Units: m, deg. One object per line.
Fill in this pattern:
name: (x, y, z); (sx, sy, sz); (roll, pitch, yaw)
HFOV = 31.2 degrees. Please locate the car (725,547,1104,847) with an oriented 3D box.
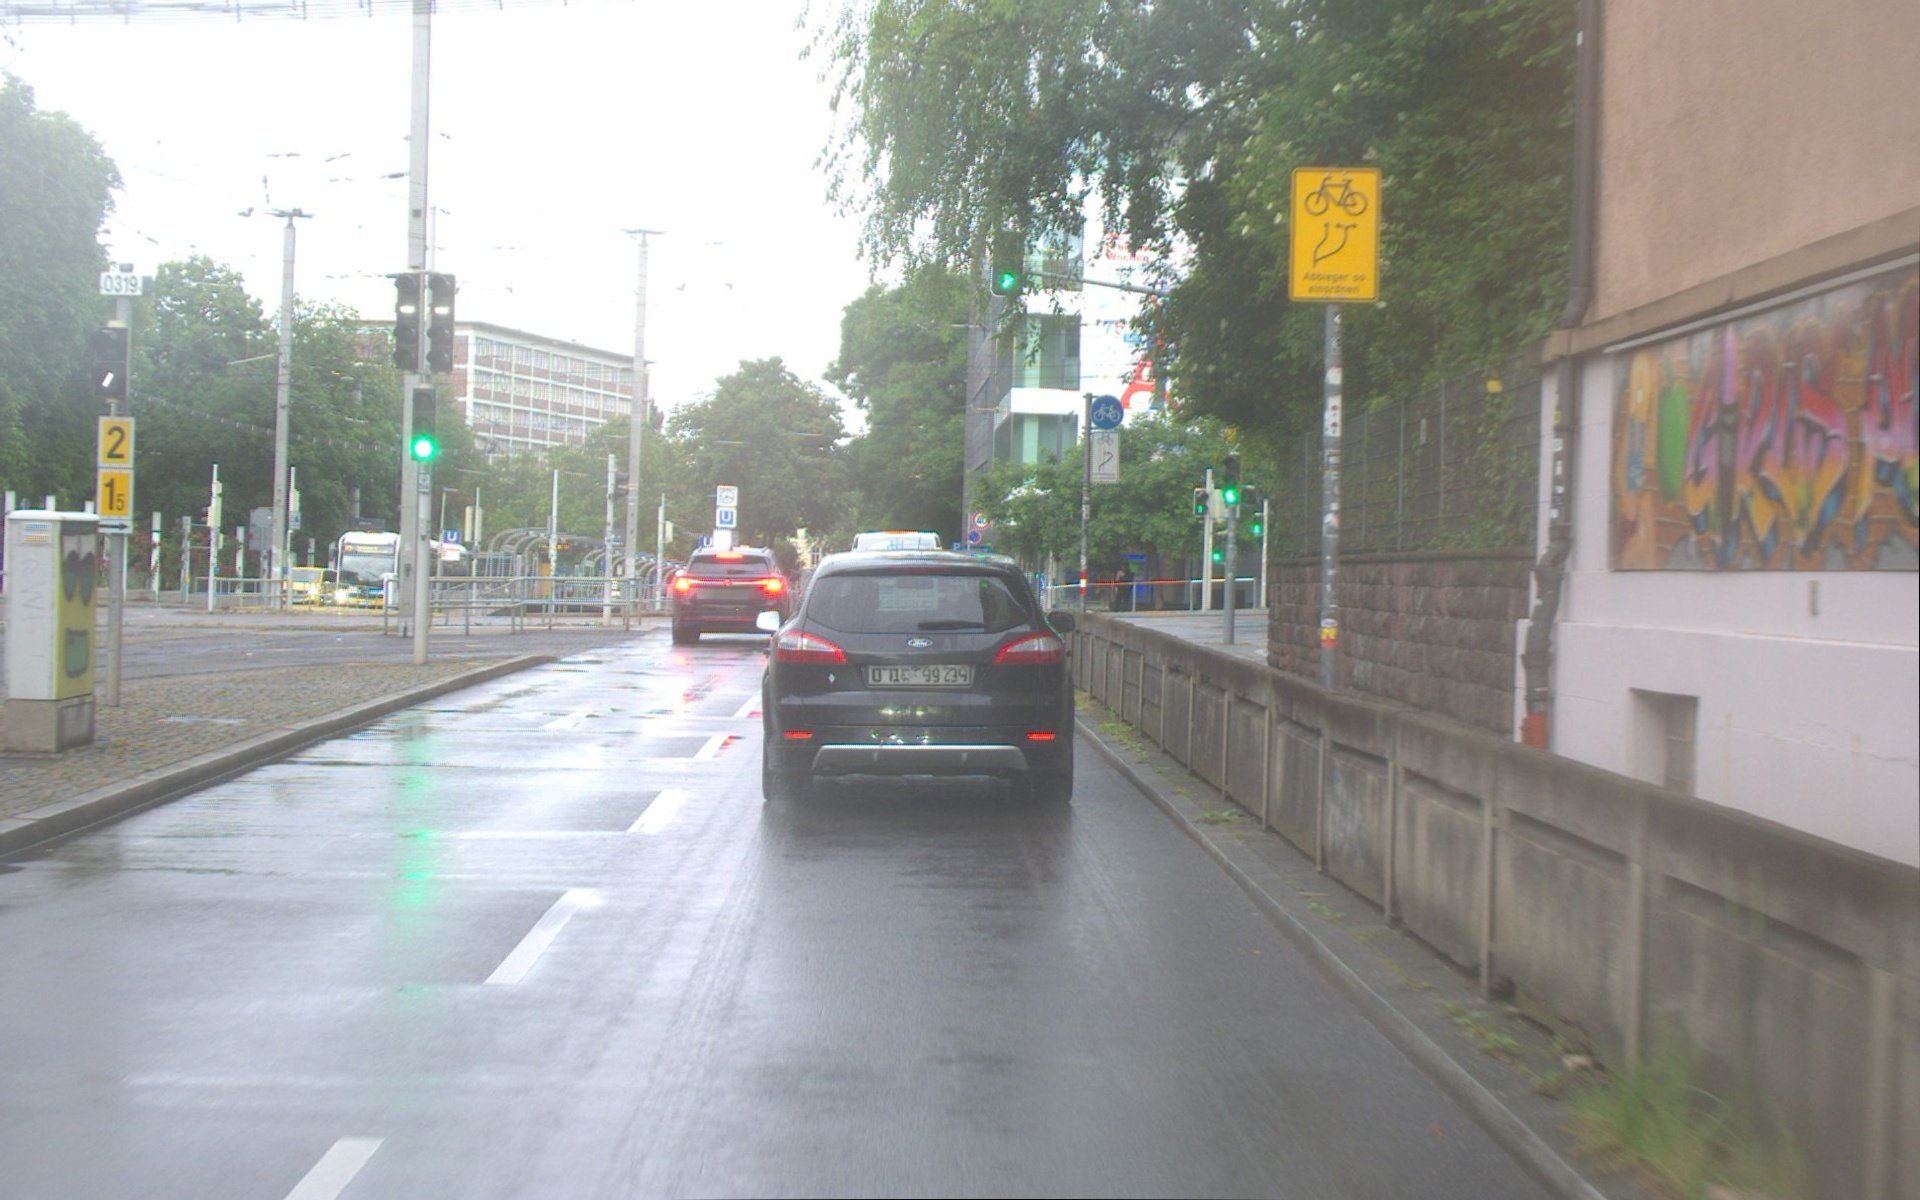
car: (-0.288, 0.502, 21.102); (2.036, 1.579, 4.392); (2, 1, -1)

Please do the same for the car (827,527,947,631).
car: (-1.338, -0.411, 64.693); (2.036, 1.833, 4.392); (2, 1, 1)

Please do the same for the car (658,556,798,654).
car: (-3.689, 0.049, 55.318); (2.098, 1.500, 4.732); (0, 1, -2)

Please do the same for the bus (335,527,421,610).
bus: (-24.324, -1.324, 144.205); (3.076, 3.289, 12.526); (0, 1, -7)

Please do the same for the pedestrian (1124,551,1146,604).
pedestrian: (5.189, -0.663, 101.926); (0.542, 1.558, 0.521); (1, 0, 20)

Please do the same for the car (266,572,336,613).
car: (-26.837, -0.313, 140.150); (1.993, 1.640, 4.537); (0, 1, 0)
